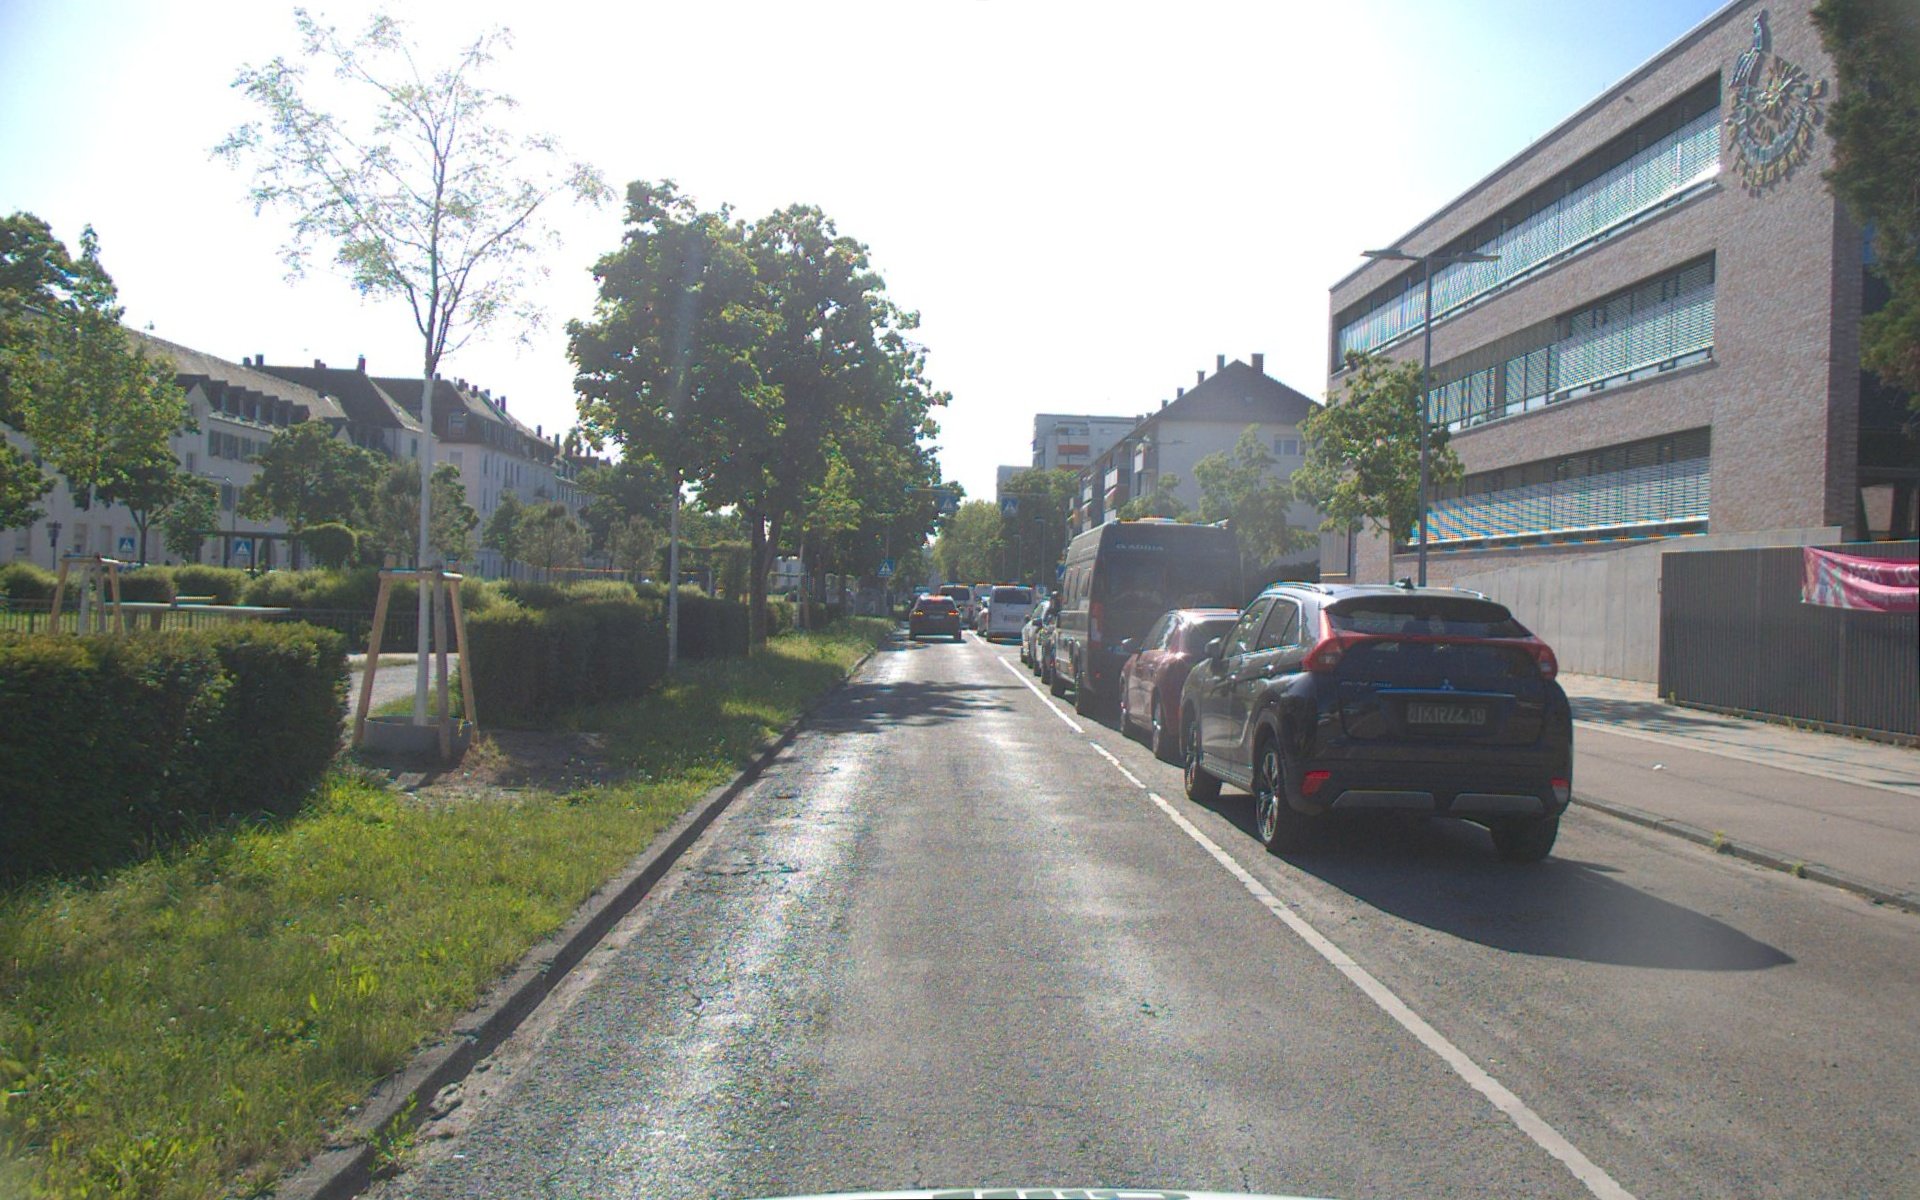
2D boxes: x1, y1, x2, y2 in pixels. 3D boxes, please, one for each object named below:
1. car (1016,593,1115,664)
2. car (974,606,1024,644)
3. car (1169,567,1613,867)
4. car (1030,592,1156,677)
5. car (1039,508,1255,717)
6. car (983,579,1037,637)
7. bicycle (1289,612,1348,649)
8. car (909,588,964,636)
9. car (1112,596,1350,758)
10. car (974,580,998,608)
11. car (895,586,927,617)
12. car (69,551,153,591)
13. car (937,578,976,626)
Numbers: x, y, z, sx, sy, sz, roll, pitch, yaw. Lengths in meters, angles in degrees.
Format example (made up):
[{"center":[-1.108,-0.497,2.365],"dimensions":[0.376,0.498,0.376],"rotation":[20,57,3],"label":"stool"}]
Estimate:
[{"center":[2.285,0.591,37.008],"dimensions":[1.758,1.445,4.656],"rotation":[2,0,-2],"label":"car"},{"center":[1.483,0.950,63.670],"dimensions":[1.729,1.342,4.167],"rotation":[3,-1,-1],"label":"car"},{"center":[2.749,0.664,11.690],"dimensions":[1.809,1.669,4.502],"rotation":[2,0,-2],"label":"car"},{"center":[2.442,0.600,31.459],"dimensions":[1.953,1.445,4.635],"rotation":[2,0,-1],"label":"car"},{"center":[2.498,0.150,23.971],"dimensions":[2.073,2.559,6.529],"rotation":[2,0,-2],"label":"car"},{"center":[1.700,0.258,57.359],"dimensions":[1.757,1.887,4.413],"rotation":[2,0,1],"label":"car"},{"center":[11.315,0.969,52.199],"dimensions":[1.758,1.127,0.500],"rotation":[-1,0,-4],"label":"bicycle"},{"center":[-0.789,0.378,56.425],"dimensions":[1.758,1.536,3.999],"rotation":[2,0,-1],"label":"car"},{"center":[2.744,0.727,17.596],"dimensions":[1.758,1.480,3.948],"rotation":[2,0,-2],"label":"car"},{"center":[2.431,-0.577,155.753],"dimensions":[1.953,2.472,4.499],"rotation":[4,0,-1],"label":"car"},{"center":[-2.810,0.088,95.347],"dimensions":[1.758,1.652,3.999],"rotation":[2,0,-1],"label":"car"},{"center":[-38.179,-1.296,74.464],"dimensions":[1.758,1.680,3.999],"rotation":[2,0,-2],"label":"car"},{"center":[-0.193,0.072,78.799],"dimensions":[1.758,2.159,3.999],"rotation":[2,0,-1],"label":"car"}]
